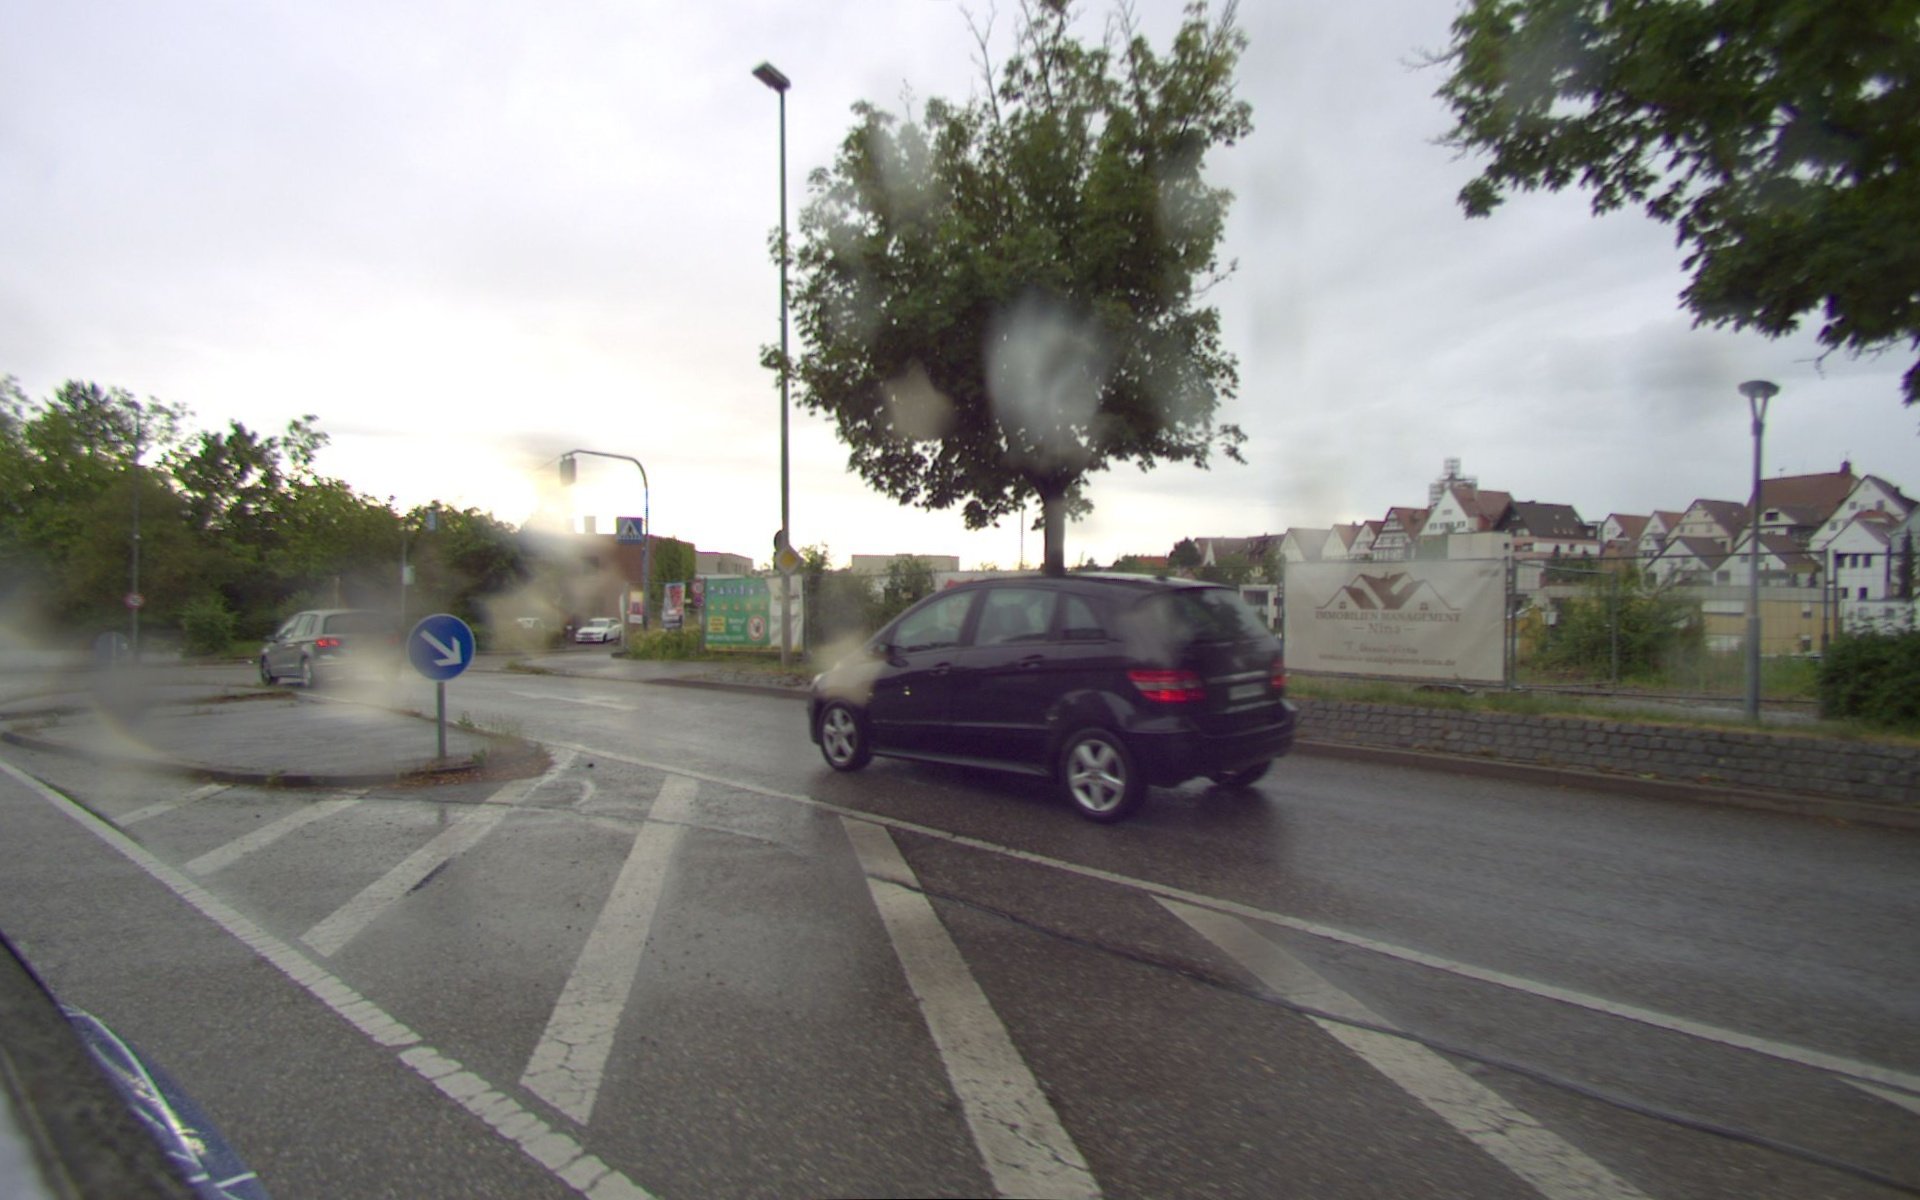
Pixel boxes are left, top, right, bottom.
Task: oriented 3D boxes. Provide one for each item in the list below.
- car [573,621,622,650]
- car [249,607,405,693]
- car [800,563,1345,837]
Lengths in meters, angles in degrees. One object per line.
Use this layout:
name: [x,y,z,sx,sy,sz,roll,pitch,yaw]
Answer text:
car: [-23.078,2.233,64.507,1.677,1.619,4.295,-2,0,-2]
car: [-13.485,0.989,21.468,4.153,1.563,1.627,-1,3,42]
car: [0.602,0.574,7.735,1.621,1.532,4.075,-1,0,-42]
